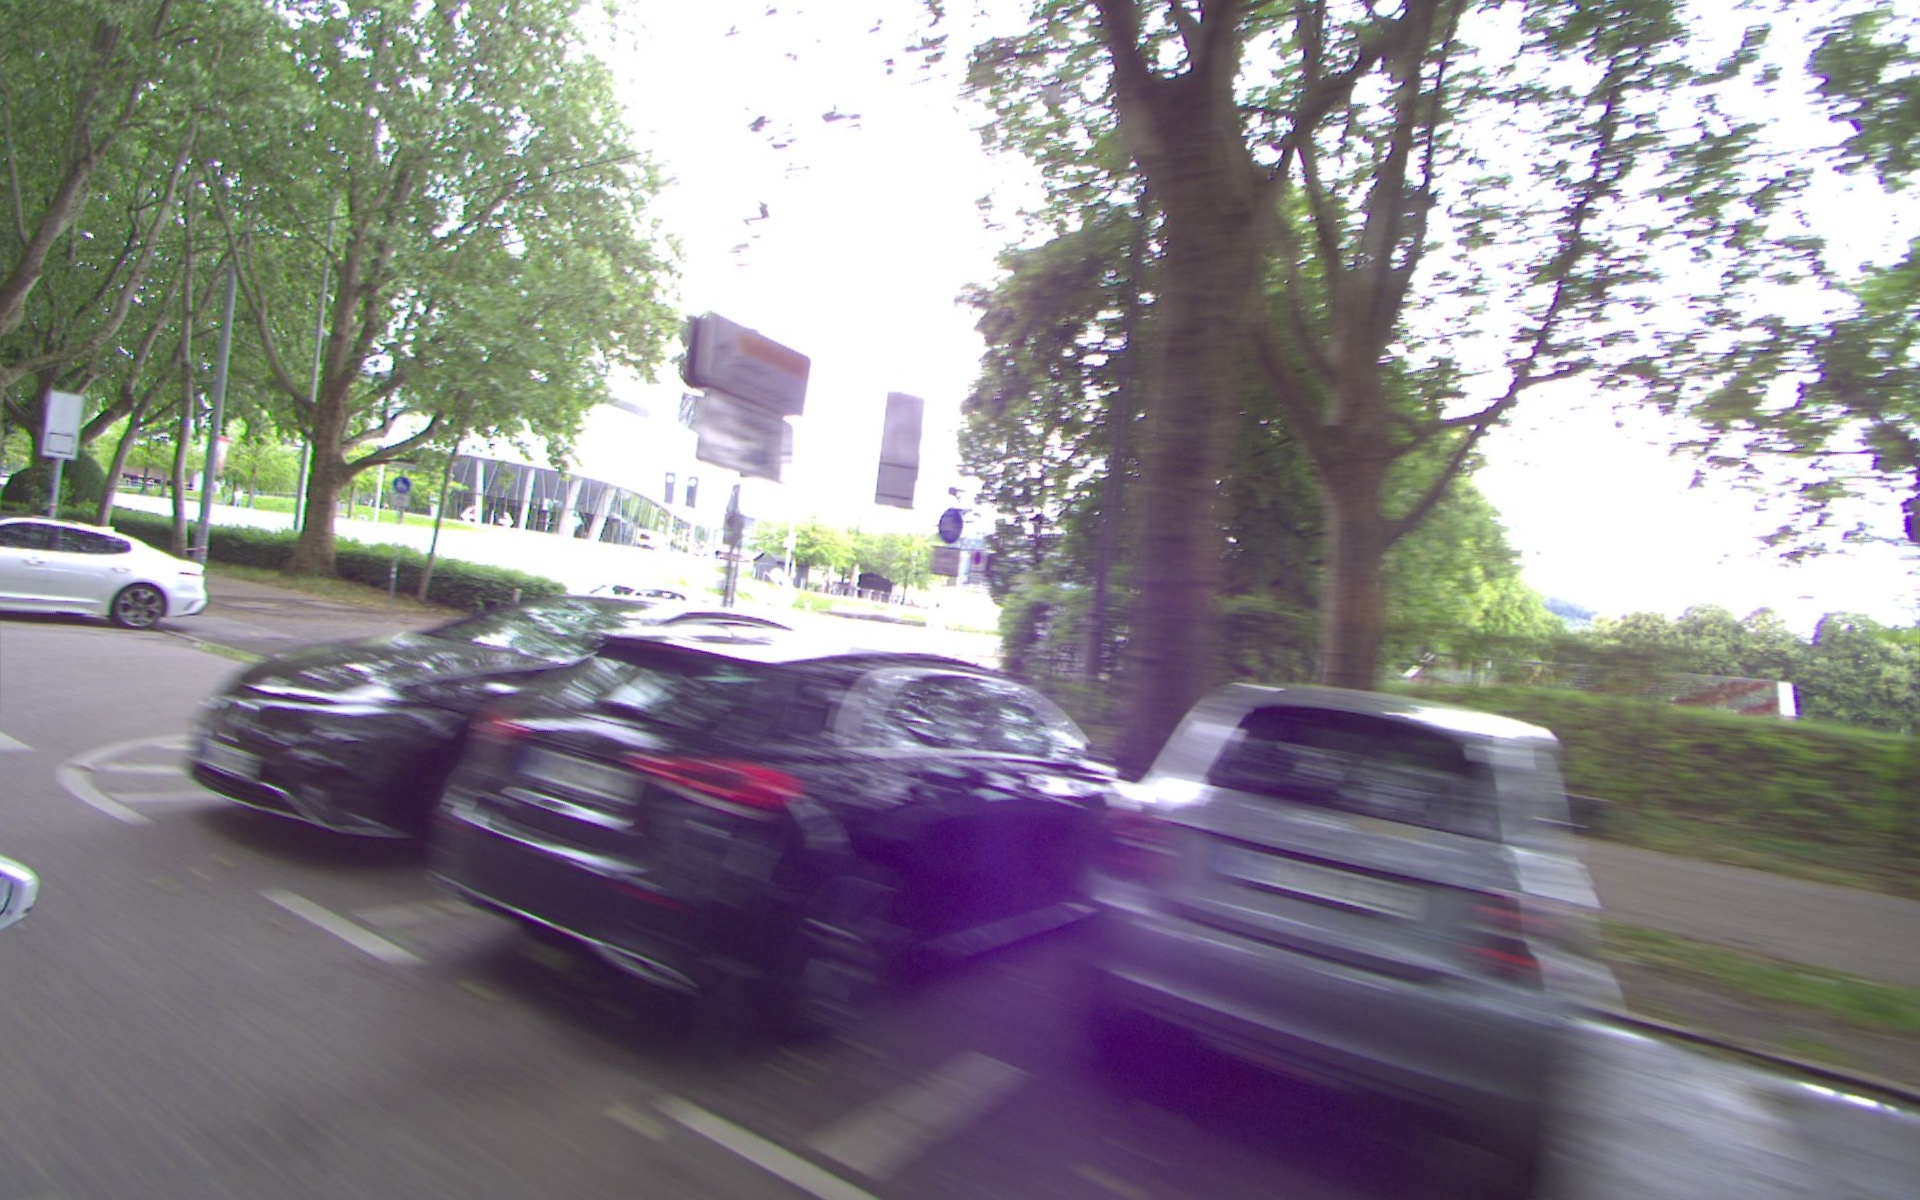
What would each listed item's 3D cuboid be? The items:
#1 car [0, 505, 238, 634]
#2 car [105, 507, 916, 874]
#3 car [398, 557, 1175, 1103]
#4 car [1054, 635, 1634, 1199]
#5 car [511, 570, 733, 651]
[{"bbox_3d":[-13.130,-0.577,13.716,1.963,1.417,4.956,7,-4,21],"label":"car"},{"bbox_3d":[-2.405,0.619,6.800,1.893,1.467,4.673,7,-3,30],"label":"car"},{"bbox_3d":[-0.353,0.851,5.014,1.529,1.468,3.928,7,-2,30],"label":"car"},{"bbox_3d":[1.915,1.134,4.611,1.529,1.525,3.433,7,-2,30],"label":"car"},{"bbox_3d":[-7.972,0.328,24.278,1.966,1.419,4.941,7,-1,30],"label":"car"}]
